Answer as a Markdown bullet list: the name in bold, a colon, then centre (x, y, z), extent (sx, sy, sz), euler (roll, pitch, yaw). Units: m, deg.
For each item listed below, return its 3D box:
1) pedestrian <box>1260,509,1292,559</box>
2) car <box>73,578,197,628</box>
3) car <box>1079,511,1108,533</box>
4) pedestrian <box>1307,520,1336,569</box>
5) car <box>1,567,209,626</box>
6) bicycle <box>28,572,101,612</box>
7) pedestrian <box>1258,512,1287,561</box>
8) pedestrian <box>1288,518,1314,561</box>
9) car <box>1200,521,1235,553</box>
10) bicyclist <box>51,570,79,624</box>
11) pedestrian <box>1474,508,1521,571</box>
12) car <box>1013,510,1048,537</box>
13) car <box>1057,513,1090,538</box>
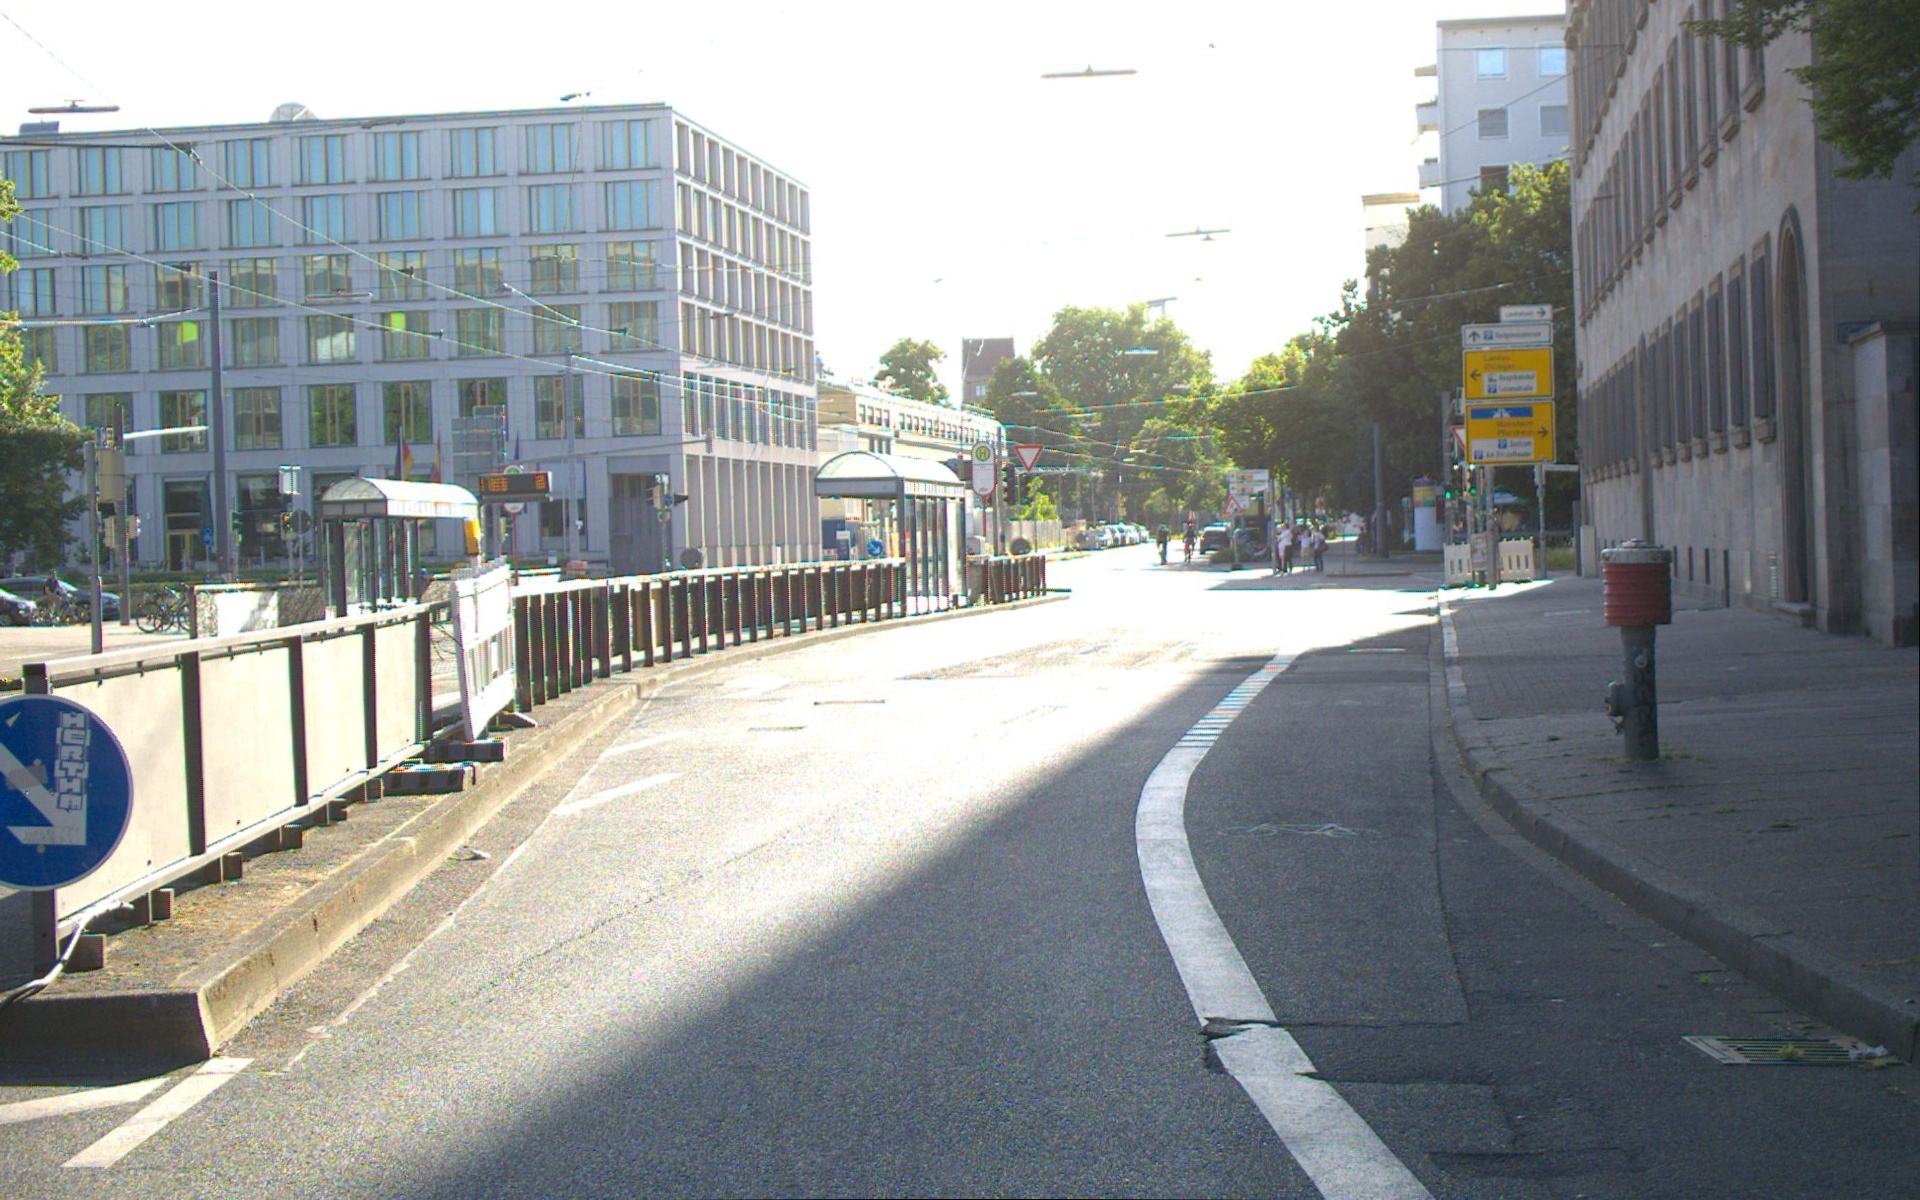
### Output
- **pedestrian**: centre (11.512, -2.392, 125.282), extent (0.966, 1.778, 0.780), euler (-2, 1, -8)
- **car**: centre (-26.348, 0.098, 109.884), extent (3.531, 1.501, 1.522), euler (-1, 1, 6)
- **car**: centre (9.420, -5.495, 242.279), extent (1.610, 1.493, 3.804), euler (-2, 1, 8)
- **pedestrian**: centre (13.284, -2.028, 126.410), extent (0.847, 1.778, 0.780), euler (-2, 1, -8)
- **car**: centre (-19.988, -0.089, 80.383), extent (4.500, 1.346, 1.590), euler (0, 0, -24)
- **bicycle**: centre (-27.019, -0.247, 103.732), extent (1.923, 1.118, 0.790), euler (-2, 1, 2)
- **pedestrian**: centre (11.588, -2.350, 127.397), extent (0.847, 1.778, 0.780), euler (-2, 1, -8)
- **pedestrian**: centre (12.638, -2.236, 127.452), extent (0.762, 1.553, 0.588), euler (-2, 1, -8)
- **car**: centre (13.991, -3.417, 186.806), extent (1.685, 1.731, 3.508), euler (0, 0, 8)
- **bicyclist**: centre (-26.994, -0.096, 103.729), extent (0.618, 1.577, 0.594), euler (-2, 1, 2)
- **pedestrian**: centre (14.913, -1.672, 95.380), extent (1.039, 1.715, 1.035), euler (-2, 1, -3)
- **car**: centre (4.659, -5.039, 227.061), extent (1.820, 1.706, 3.804), euler (-2, 1, 8)
- **car**: centre (7.884, -5.174, 238.441), extent (1.820, 1.706, 3.804), euler (-2, 1, 8)
